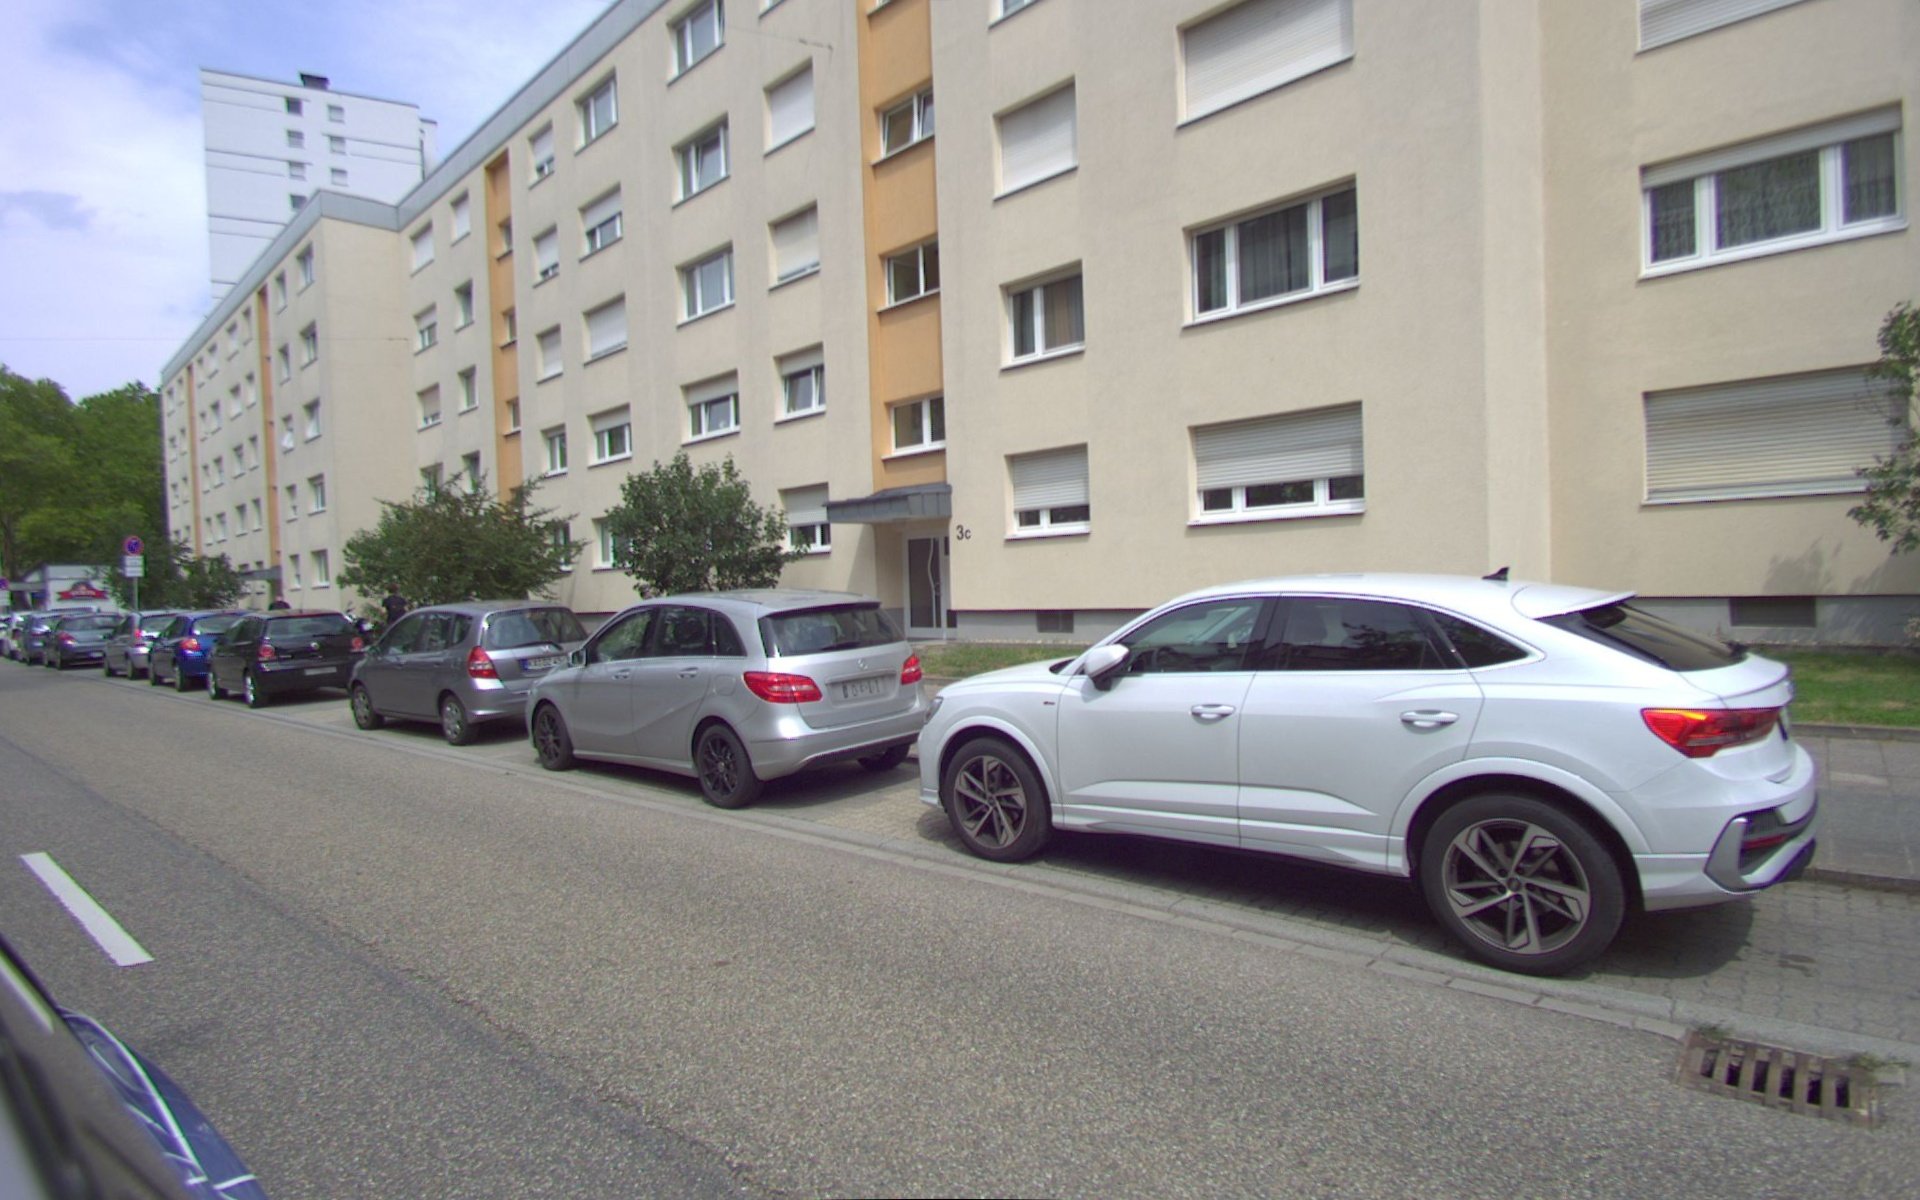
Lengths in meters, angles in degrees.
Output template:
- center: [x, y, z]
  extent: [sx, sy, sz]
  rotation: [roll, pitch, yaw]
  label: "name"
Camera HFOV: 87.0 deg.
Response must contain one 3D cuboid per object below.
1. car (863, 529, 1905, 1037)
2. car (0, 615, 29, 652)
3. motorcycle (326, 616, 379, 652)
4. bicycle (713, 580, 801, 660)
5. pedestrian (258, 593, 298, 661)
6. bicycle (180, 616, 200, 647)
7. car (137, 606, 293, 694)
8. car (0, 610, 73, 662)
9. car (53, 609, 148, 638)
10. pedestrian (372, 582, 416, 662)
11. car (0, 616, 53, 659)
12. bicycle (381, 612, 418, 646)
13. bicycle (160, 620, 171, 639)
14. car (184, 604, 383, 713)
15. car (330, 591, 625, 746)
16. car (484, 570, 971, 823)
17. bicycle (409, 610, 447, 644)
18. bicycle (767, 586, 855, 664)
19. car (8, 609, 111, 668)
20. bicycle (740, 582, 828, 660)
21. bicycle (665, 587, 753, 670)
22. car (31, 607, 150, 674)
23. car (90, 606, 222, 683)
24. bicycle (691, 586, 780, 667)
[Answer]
- center: [1.721, 0.572, 5.294]
  extent: [4.591, 1.591, 1.671]
  rotation: [-1, 2, 41]
  label: "car"
- center: [-40.467, 1.421, 42.449]
  extent: [3.989, 1.484, 1.690]
  rotation: [-1, 2, 43]
  label: "car"
- center: [-18.195, 1.005, 30.299]
  extent: [2.316, 0.993, 0.655]
  rotation: [-1, 2, 41]
  label: "motorcycle"
- center: [-3.861, 0.391, 19.108]
  extent: [2.130, 1.436, 0.457]
  rotation: [-3, 0, 44]
  label: "bicycle"
- center: [-18.985, 0.752, 28.177]
  extent: [0.898, 1.826, 0.613]
  rotation: [-1, 2, 39]
  label: "pedestrian"
- center: [-32.585, 1.338, 42.820]
  extent: [0.571, 1.260, 1.937]
  rotation: [-3, 0, -38]
  label: "bicycle"
- center: [-15.060, 0.941, 20.400]
  extent: [3.885, 1.494, 1.798]
  rotation: [-1, 2, 43]
  label: "car"
- center: [-32.803, 1.246, 35.564]
  extent: [4.473, 1.624, 1.681]
  rotation: [-1, 2, 40]
  label: "car"
- center: [-55.127, 1.489, 64.941]
  extent: [4.576, 1.699, 1.851]
  rotation: [-1, -1, -43]
  label: "car"
- center: [-13.164, 0.502, 23.552]
  extent: [0.803, 1.826, 0.613]
  rotation: [-1, 0, 39]
  label: "pedestrian"
- center: [-36.671, 1.446, 39.177]
  extent: [3.985, 1.484, 1.692]
  rotation: [-1, 2, 40]
  label: "car"
- center: [-17.205, 0.892, 31.043]
  extent: [1.615, 0.993, 0.435]
  rotation: [-1, 2, 41]
  label: "bicycle"
- center: [-44.523, 1.653, 56.690]
  extent: [0.406, 1.045, 1.808]
  rotation: [-2, 1, -40]
  label: "bicycle"
- center: [-11.360, 0.897, 16.883]
  extent: [4.116, 1.494, 1.799]
  rotation: [-1, 2, 43]
  label: "car"
- center: [-5.971, 0.766, 12.331]
  extent: [4.001, 1.551, 1.705]
  rotation: [-3, 0, 40]
  label: "car"
- center: [-2.216, 0.653, 8.754]
  extent: [4.567, 1.591, 1.736]
  rotation: [-1, 2, 42]
  label: "car"
- center: [-16.614, 0.838, 31.599]
  extent: [1.673, 0.993, 0.435]
  rotation: [-1, 2, 41]
  label: "bicycle"
- center: [-2.953, 0.501, 19.879]
  extent: [2.130, 1.436, 0.457]
  rotation: [-3, 0, 44]
  label: "bicycle"
- center: [-28.609, 1.167, 32.099]
  extent: [4.861, 1.624, 1.921]
  rotation: [-1, 2, 43]
  label: "car"
- center: [-3.417, 0.420, 19.518]
  extent: [2.130, 1.436, 0.457]
  rotation: [-3, 0, 44]
  label: "bicycle"
- center: [-4.551, 0.523, 18.257]
  extent: [0.457, 1.404, 2.131]
  rotation: [-2, 0, -45]
  label: "bicycle"
- center: [-24.485, 1.101, 28.440]
  extent: [4.300, 1.624, 1.922]
  rotation: [-1, 2, 42]
  label: "car"
- center: [-18.966, 1.011, 23.815]
  extent: [3.848, 1.573, 1.653]
  rotation: [-1, 2, 40]
  label: "car"
- center: [-4.170, 0.495, 18.662]
  extent: [2.130, 1.423, 0.457]
  rotation: [-3, 0, 44]
  label: "bicycle"
